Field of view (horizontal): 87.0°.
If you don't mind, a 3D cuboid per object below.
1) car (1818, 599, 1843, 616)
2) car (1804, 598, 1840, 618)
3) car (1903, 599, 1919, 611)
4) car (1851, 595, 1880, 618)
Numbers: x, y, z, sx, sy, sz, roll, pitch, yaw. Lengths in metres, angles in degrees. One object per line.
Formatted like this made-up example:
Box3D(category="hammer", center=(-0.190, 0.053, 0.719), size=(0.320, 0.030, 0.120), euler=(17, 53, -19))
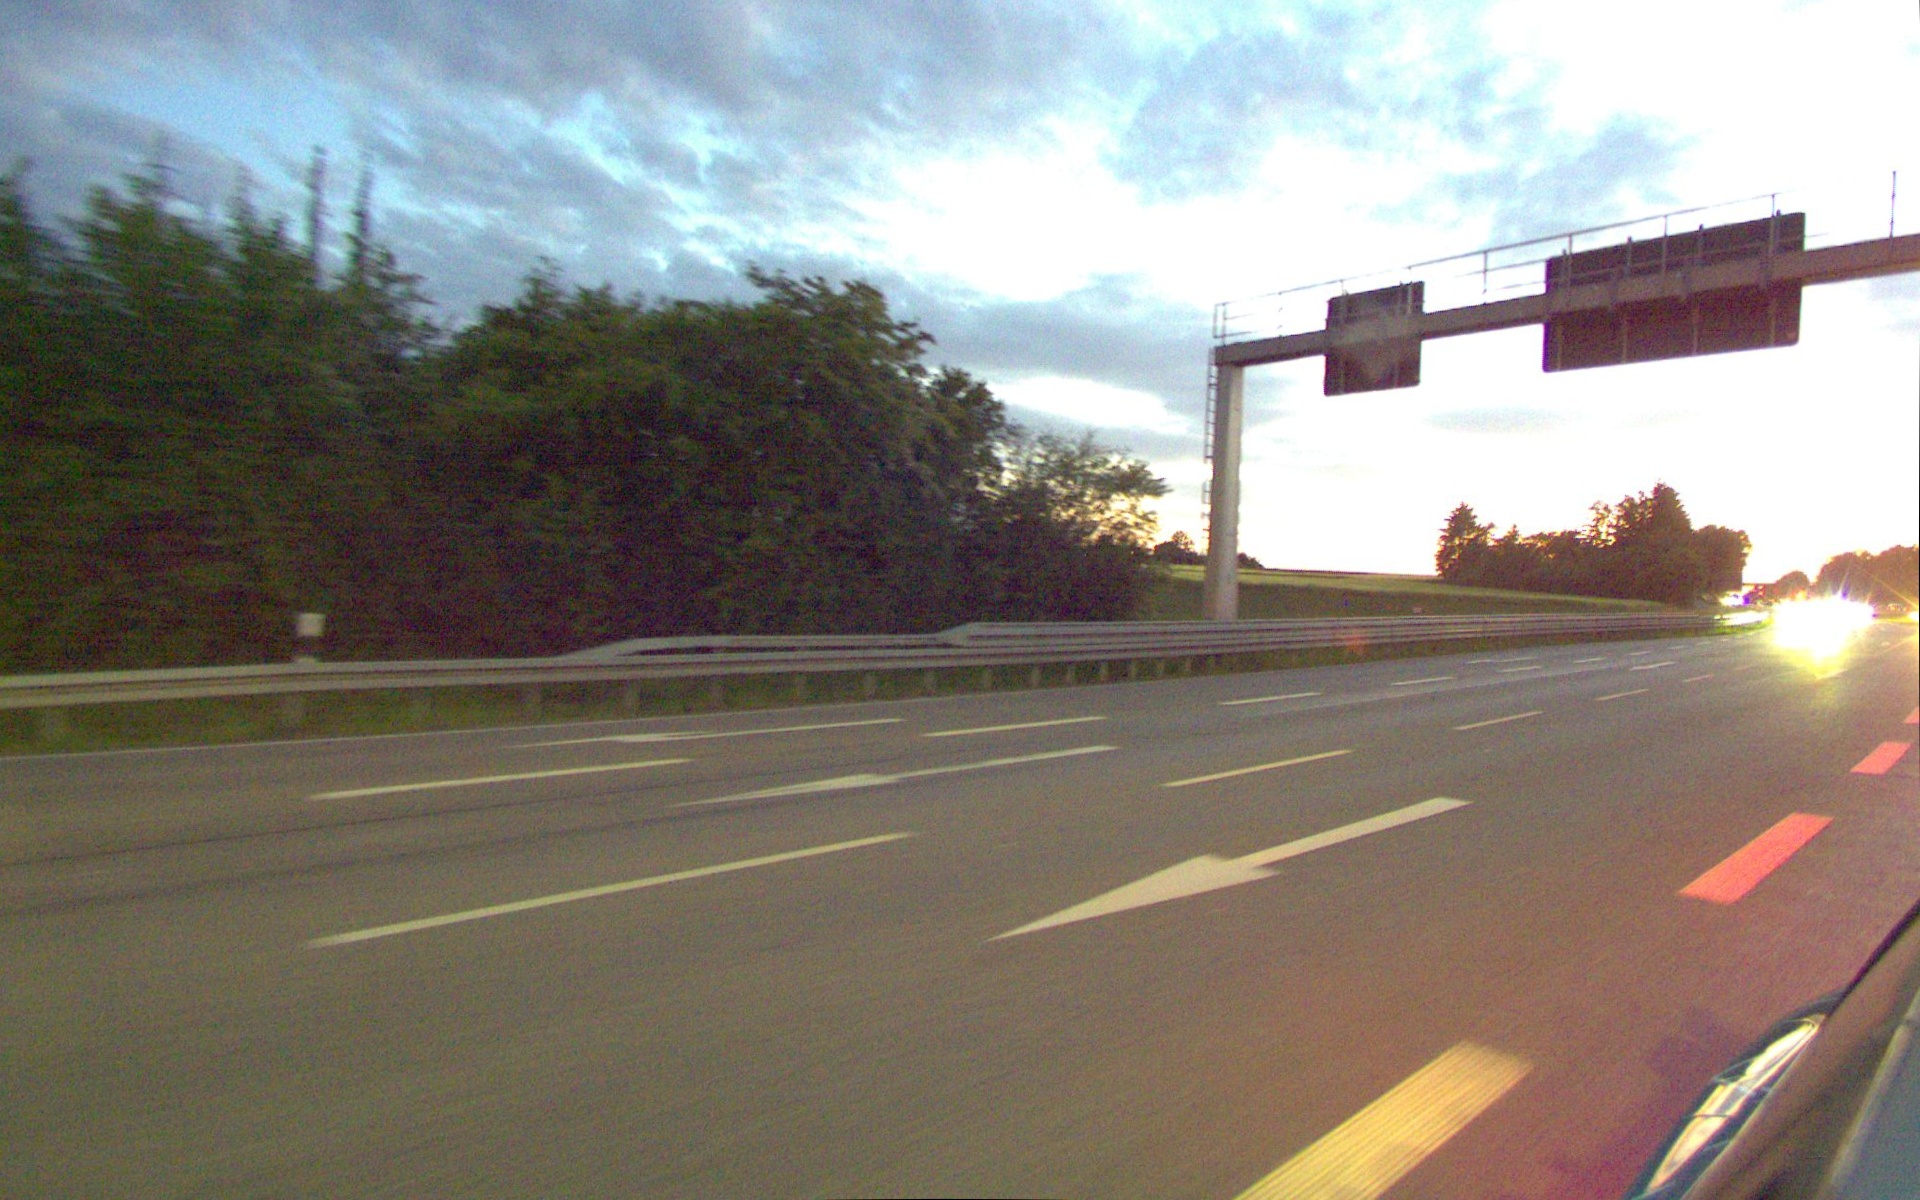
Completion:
Box3D(category="car", center=(90.654, 0.753, 105.369), size=(1.825, 1.772, 3.795), euler=(-1, -1, 39))
Box3D(category="car", center=(70.006, 0.653, 82.187), size=(1.994, 1.604, 3.936), euler=(0, 0, 44))
Box3D(category="car", center=(134.498, 0.713, 142.747), size=(1.698, 1.643, 4.247), euler=(1, 1, 38))
Box3D(category="car", center=(83.428, 0.570, 93.195), size=(1.857, 2.039, 3.937), euler=(0, 0, 44))
